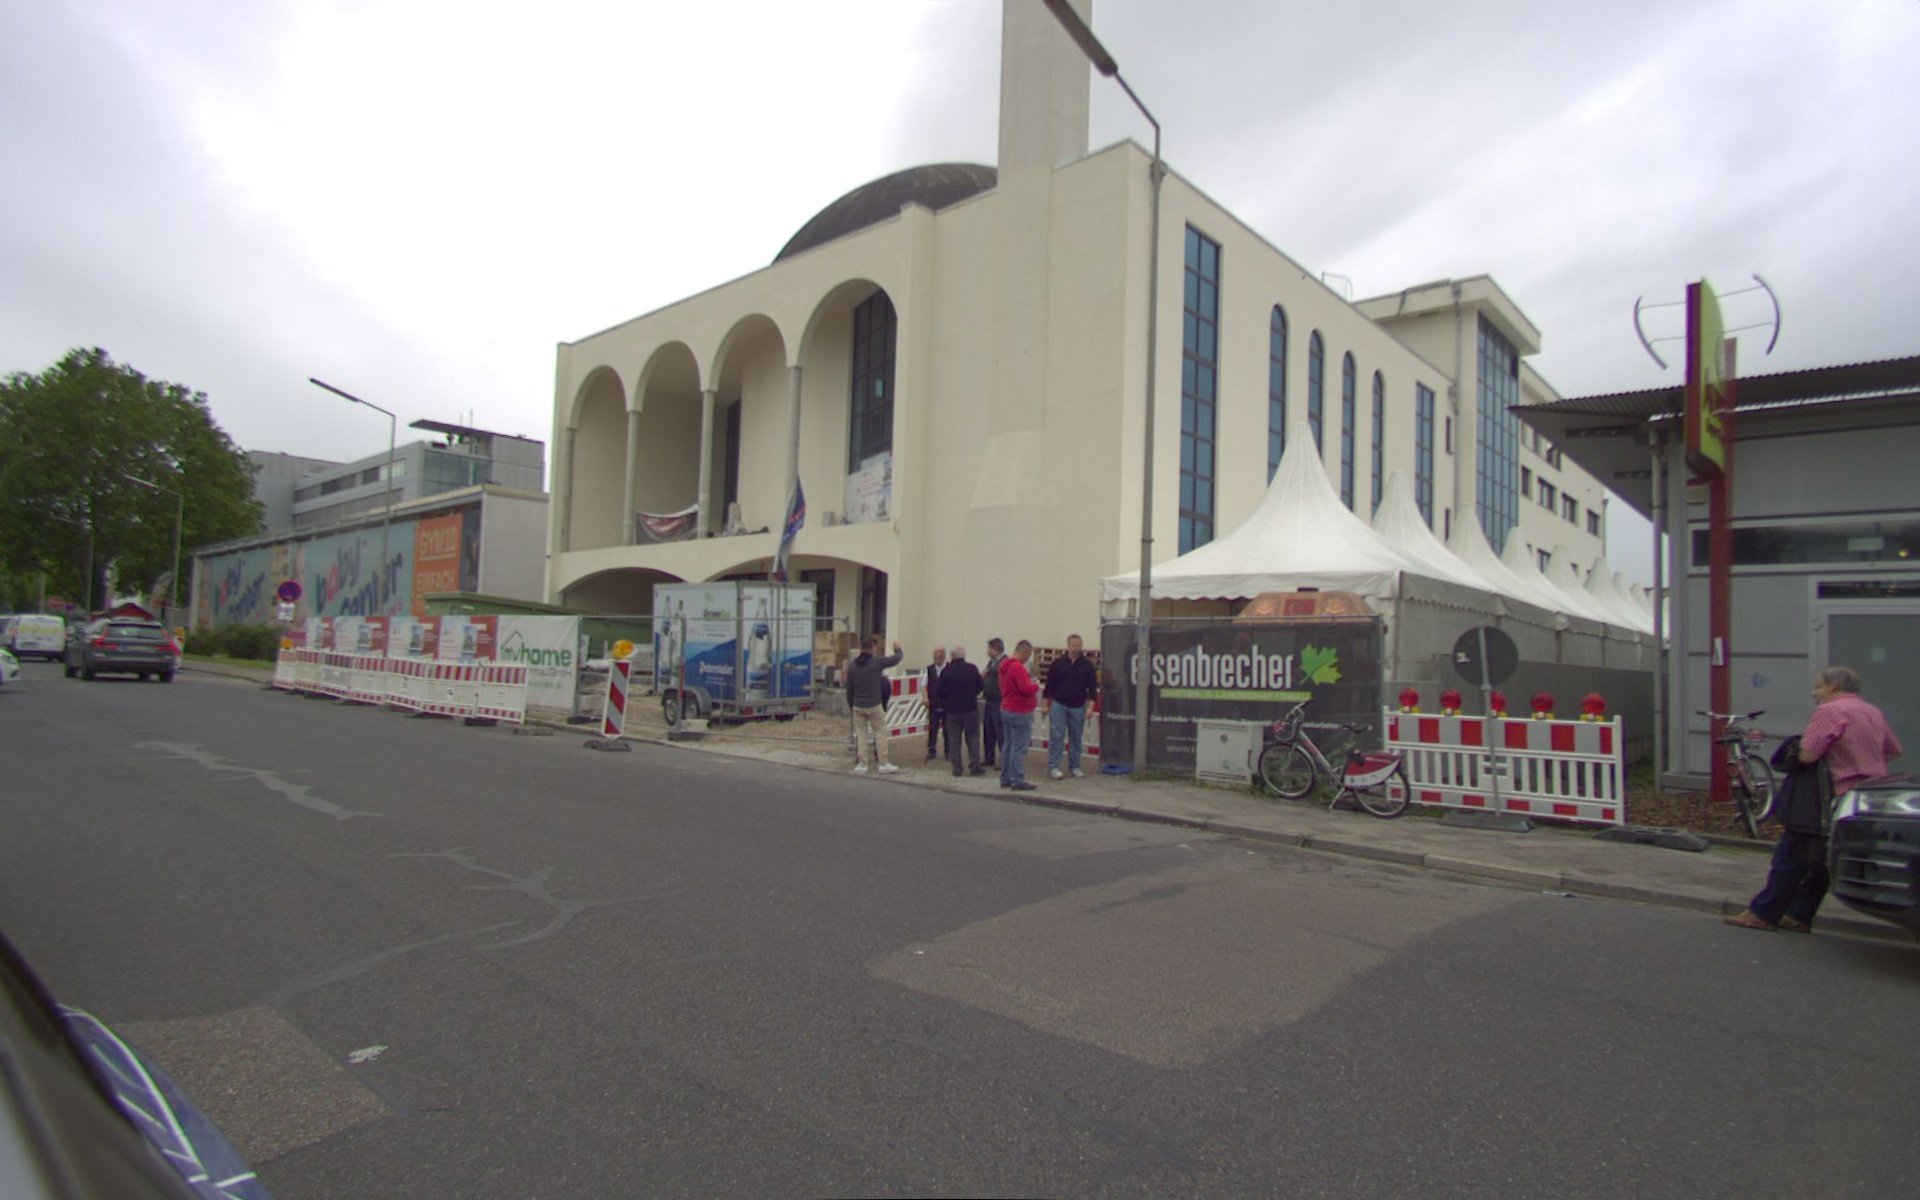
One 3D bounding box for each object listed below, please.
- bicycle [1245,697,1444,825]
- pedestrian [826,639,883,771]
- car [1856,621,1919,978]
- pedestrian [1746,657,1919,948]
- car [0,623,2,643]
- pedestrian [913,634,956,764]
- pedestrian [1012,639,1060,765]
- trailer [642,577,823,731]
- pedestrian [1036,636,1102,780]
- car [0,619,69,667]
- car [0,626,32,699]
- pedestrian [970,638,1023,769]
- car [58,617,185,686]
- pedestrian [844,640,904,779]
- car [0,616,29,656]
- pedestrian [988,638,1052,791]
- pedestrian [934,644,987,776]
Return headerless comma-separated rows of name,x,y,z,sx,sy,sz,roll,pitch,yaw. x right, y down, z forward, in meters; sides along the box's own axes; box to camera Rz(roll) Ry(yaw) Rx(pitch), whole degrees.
bicycle,3.959,1.619,10.551,0.537,1.086,1.904,4,-3,-41
pedestrian,-1.456,1.439,13.976,0.682,1.763,0.490,-2,-3,2
car,6.808,1.028,4.074,4.729,1.704,1.845,-1,-8,43
pedestrian,5.425,1.207,6.224,0.667,1.634,0.652,4,-6,6
car,-54.882,2.008,56.472,3.946,1.584,1.710,-1,-5,43
pedestrian,-0.346,1.363,14.137,0.521,1.763,0.490,-2,-3,2
pedestrian,1.043,1.395,13.943,0.484,1.623,0.540,-6,2,3
trailer,-4.300,1.004,18.961,1.777,2.627,3.193,6,-5,-44
pedestrian,1.357,1.326,12.692,0.686,1.731,0.687,-2,-2,-1
car,-36.440,1.668,39.686,4.133,1.774,1.672,-1,-4,42
car,-20.856,1.173,19.124,1.928,1.439,4.457,1,-2,24
pedestrian,0.487,1.369,13.488,0.568,1.705,0.408,-3,-3,18
car,-22.928,1.371,27.607,4.494,1.697,1.913,-1,-5,42
pedestrian,-1.125,1.427,13.310,0.682,1.763,0.490,-2,-3,2
car,-47.118,1.690,49.521,4.382,1.821,1.776,0,-5,42
pedestrian,0.695,1.297,11.678,0.530,1.705,0.509,-3,-3,25
pedestrian,0.012,1.388,12.890,0.565,1.624,0.489,-2,-3,8
